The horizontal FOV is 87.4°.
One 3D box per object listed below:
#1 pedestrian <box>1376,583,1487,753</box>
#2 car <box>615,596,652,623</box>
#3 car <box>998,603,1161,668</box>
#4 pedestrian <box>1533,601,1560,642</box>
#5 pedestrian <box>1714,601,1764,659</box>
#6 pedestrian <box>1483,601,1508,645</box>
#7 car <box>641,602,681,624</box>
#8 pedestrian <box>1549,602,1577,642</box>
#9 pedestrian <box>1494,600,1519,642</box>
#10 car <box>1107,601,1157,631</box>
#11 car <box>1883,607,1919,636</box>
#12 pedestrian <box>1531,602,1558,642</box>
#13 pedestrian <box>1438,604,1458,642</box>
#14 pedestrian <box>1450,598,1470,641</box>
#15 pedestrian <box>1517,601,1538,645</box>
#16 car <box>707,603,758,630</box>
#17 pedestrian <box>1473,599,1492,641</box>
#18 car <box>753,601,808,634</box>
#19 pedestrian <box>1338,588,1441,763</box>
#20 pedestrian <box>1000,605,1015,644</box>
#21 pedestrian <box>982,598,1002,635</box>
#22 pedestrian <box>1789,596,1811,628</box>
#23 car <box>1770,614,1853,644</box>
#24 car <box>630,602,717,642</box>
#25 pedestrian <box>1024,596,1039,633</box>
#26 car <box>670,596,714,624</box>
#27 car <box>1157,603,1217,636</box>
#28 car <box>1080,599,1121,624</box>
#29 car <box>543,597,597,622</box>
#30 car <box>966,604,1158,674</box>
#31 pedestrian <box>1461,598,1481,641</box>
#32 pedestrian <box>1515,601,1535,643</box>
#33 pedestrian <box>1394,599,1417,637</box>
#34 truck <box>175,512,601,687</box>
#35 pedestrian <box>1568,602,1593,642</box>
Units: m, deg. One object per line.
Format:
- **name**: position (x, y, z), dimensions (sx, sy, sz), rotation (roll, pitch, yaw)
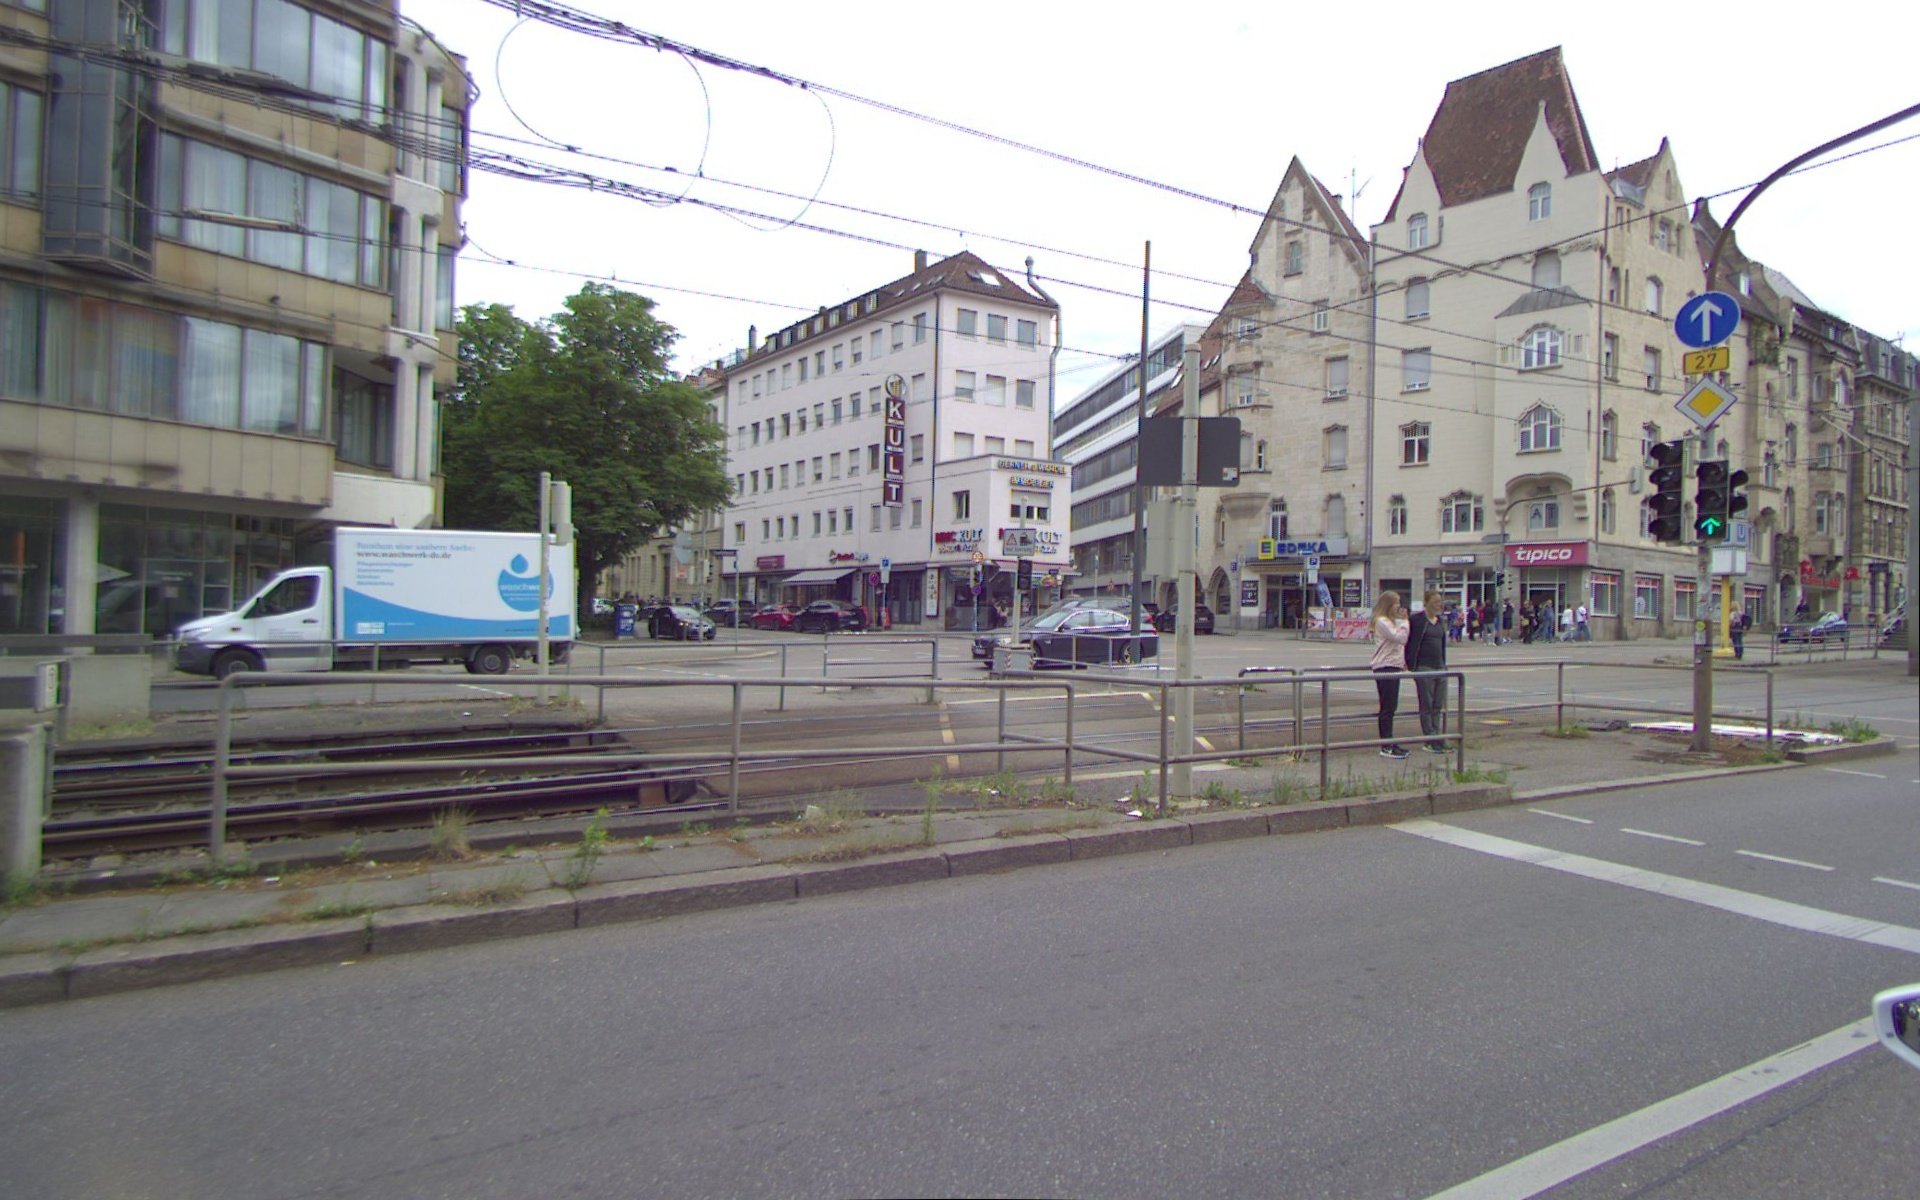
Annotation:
- **pedestrian**: position (5.095, 0.704, 10.869), dimensions (0.763, 1.744, 0.788), rotation (0, 0, -30)
- **car**: position (-24.140, 0.696, 74.244), dimensions (1.634, 1.735, 3.613), rotation (0, 3, -35)
- **car**: position (3.579, 1.015, 29.759), dimensions (4.726, 1.783, 1.665), rotation (1, 1, -30)
- **pedestrian**: position (24.896, 0.903, 42.646), dimensions (0.679, 1.699, 0.674), rotation (0, 0, -12)
- **pedestrian**: position (23.517, 0.884, 30.342), dimensions (0.796, 1.728, 0.877), rotation (0, 0, -1)
- **pedestrian**: position (22.416, 0.953, 42.038), dimensions (0.585, 1.803, 0.709), rotation (0, 0, -14)
- **car**: position (-20.723, 0.863, 69.585), dimensions (1.634, 1.463, 3.614), rotation (0, 0, -35)
- **pedestrian**: position (26.564, 0.953, 44.274), dimensions (0.713, 1.728, 0.780), rotation (0, 0, -24)
- **pedestrian**: position (23.776, 0.885, 43.674), dimensions (0.654, 1.803, 0.790), rotation (0, 0, 1)
- **car**: position (10.478, 0.999, 61.397), dimensions (1.610, 1.768, 3.772), rotation (0, -2, -15)
- **car**: position (52.232, 1.181, 54.902), dimensions (3.556, 1.544, 1.552), rotation (1, 1, -29)
- **pedestrian**: position (25.640, 0.947, 44.041), dimensions (0.644, 1.728, 0.780), rotation (0, 0, -24)
- **pedestrian**: position (20.806, 0.959, 42.785), dimensions (0.505, 1.603, 0.573), rotation (0, 0, -28)
- **pedestrian**: position (21.368, 0.820, 42.953), dimensions (0.504, 1.803, 0.573), rotation (0, 0, -25)
- **pedestrian**: position (23.545, 0.947, 41.659), dimensions (0.567, 1.803, 0.510), rotation (0, 0, -16)
- **car**: position (-13.536, 0.942, 59.667), dimensions (1.635, 1.553, 3.611), rotation (0, 0, -37)
- **pedestrian**: position (22.685, 0.874, 43.610), dimensions (0.569, 1.803, 0.508), rotation (0, 0, -28)
- **car**: position (-10.002, 0.948, 55.743), dimensions (1.634, 1.734, 3.614), rotation (0, 0, -35)
- **pedestrian**: position (4.482, 0.753, 10.506), dimensions (0.630, 1.744, 0.761), rotation (0, 0, -30)
- **pedestrian**: position (2.206, 1.129, 46.982), dimensions (0.568, 1.803, 0.509), rotation (0, 0, -18)
- **pedestrian**: position (1.512, 0.760, 47.098), dimensions (0.644, 1.728, 0.780), rotation (0, 0, -24)
- **pedestrian**: position (46.372, 0.651, 55.465), dimensions (0.616, 1.786, 0.847), rotation (0, 0, 18)
- **car**: position (40.546, 1.393, 47.827), dimensions (3.733, 1.393, 1.627), rotation (0, -2, -26)
- **car**: position (-12.387, 0.915, 43.366), dimensions (1.938, 1.551, 3.946), rotation (1, 1, -45)
- **pedestrian**: position (3.491, 0.696, 49.226), dimensions (0.589, 1.803, 0.509), rotation (0, 0, -18)
- **car**: position (-17.279, 0.650, 64.623), dimensions (1.634, 1.734, 3.614), rotation (0, 0, -35)
- **car**: position (12.254, 1.083, 54.425), dimensions (1.610, 1.706, 3.772), rotation (0, -2, -15)
- **car**: position (10.126, 0.860, 72.748), dimensions (1.610, 1.768, 3.772), rotation (0, -2, -15)
- **car**: position (-27.816, 0.635, 71.595), dimensions (4.432, 1.734, 1.914), rotation (0, 0, 44)
- **car**: position (2.499, 0.911, 24.441), dimensions (4.474, 1.573, 1.652), rotation (1, 0, -25)
- **pedestrian**: position (22.070, 0.839, 43.355), dimensions (0.569, 1.803, 0.508), rotation (0, 0, -23)
- **pedestrian**: position (24.206, 0.927, 43.033), dimensions (0.565, 1.803, 0.511), rotation (0, 0, 1)
- **pedestrian**: position (21.206, 0.839, 47.786), dimensions (0.808, 1.803, 0.574), rotation (0, 0, -20)
- **truck**: position (-11.454, 0.086, 20.805), dimensions (7.292, 3.116, 2.255), rotation (1, -2, -32)
- **pedestrian**: position (26.955, 0.943, 43.630), dimensions (0.700, 1.728, 0.601), rotation (0, 0, -24)
